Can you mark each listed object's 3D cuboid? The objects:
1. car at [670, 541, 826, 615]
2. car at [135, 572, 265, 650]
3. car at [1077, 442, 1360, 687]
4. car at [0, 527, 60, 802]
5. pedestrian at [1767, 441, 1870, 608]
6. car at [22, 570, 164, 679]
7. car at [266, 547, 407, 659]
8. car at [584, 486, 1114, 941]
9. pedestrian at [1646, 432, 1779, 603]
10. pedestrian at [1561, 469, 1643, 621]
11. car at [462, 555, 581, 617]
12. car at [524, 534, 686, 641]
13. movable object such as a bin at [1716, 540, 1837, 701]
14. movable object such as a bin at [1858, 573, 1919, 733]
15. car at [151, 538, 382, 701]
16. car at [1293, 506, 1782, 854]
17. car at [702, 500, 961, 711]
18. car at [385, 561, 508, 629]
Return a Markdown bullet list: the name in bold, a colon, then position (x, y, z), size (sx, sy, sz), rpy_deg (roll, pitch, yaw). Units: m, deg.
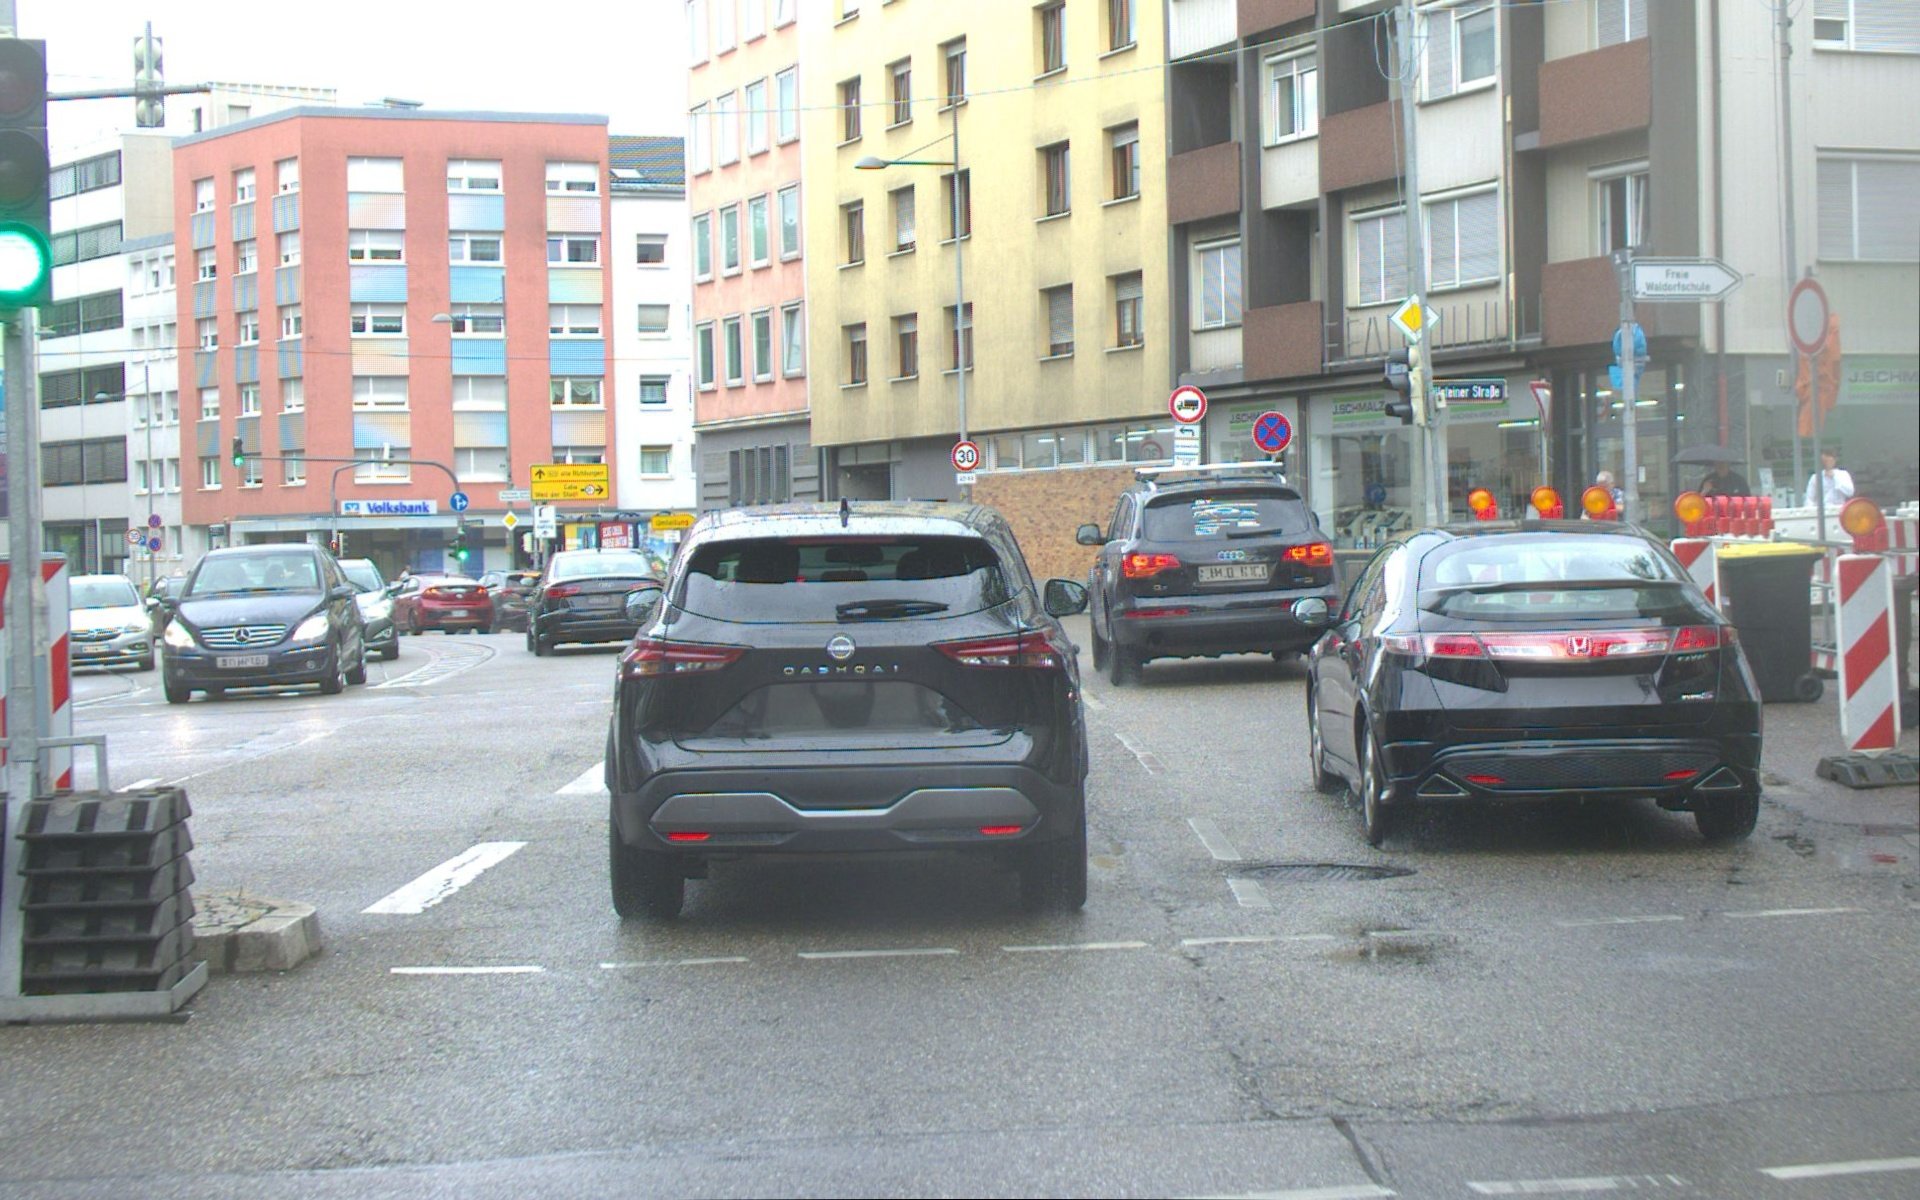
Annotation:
- **car**: position (-4.421, -0.460, 71.145), size (1.993, 1.481, 4.001), rpy_deg (0, 0, -23)
- **car**: position (-15.858, 0.228, 71.561), size (1.983, 1.454, 4.487), rpy_deg (-4, 1, -20)
- **car**: position (2.148, -0.356, 29.933), size (2.021, 1.863, 4.900), rpy_deg (-3, 2, 0)
- **car**: position (-6.499, 0.413, 19.703), size (1.846, 1.588, 4.091), rpy_deg (-2, 1, -5)
- **pedestrian**: position (9.920, -0.871, 39.705), size (0.657, 1.873, 0.991), rpy_deg (-4, -1, 43)
- **car**: position (-13.347, 0.345, 52.945), size (1.928, 1.469, 4.605), rpy_deg (-4, 1, -14)
- **car**: position (-9.052, 0.012, 49.947), size (1.852, 1.469, 4.649), rpy_deg (-3, 1, -10)
- **car**: position (-0.464, 0.372, 14.360), size (1.894, 1.623, 4.000), rpy_deg (0, 1, -2)
- **pedestrian**: position (8.502, -0.926, 38.835), size (0.917, 1.854, 1.031), rpy_deg (-2, -1, -43)
- **pedestrian**: position (7.370, -0.628, 39.444), size (0.792, 1.682, 0.821), rpy_deg (-3, -1, 13)
- **car**: position (-11.090, -0.365, 86.745), size (1.993, 1.514, 4.001), rpy_deg (0, 0, -22)
- **car**: position (-4.935, -0.177, 47.324), size (1.993, 1.383, 4.501), rpy_deg (0, 0, -9)
- **movable object such as a bin**: position (5.466, 0.131, 23.036), size (0.620, 1.028, 0.532), rpy_deg (-3, 2, -3)
- **movable object such as a bin**: position (5.774, 0.316, 20.923), size (0.419, 0.926, 0.532), rpy_deg (-3, 2, -3)
- **car**: position (-7.245, 0.157, 36.271), size (1.829, 1.538, 4.284), rpy_deg (-2, 1, -4)
- **car**: position (2.669, 0.307, 16.758), size (1.784, 1.491, 4.056), rpy_deg (0, 1, 1)
- **car**: position (-1.085, -0.002, 31.031), size (1.946, 1.679, 4.000), rpy_deg (-3, 1, 2)
- **car**: position (-11.928, -0.119, 79.642), size (1.993, 1.525, 4.001), rpy_deg (0, 0, -21)
